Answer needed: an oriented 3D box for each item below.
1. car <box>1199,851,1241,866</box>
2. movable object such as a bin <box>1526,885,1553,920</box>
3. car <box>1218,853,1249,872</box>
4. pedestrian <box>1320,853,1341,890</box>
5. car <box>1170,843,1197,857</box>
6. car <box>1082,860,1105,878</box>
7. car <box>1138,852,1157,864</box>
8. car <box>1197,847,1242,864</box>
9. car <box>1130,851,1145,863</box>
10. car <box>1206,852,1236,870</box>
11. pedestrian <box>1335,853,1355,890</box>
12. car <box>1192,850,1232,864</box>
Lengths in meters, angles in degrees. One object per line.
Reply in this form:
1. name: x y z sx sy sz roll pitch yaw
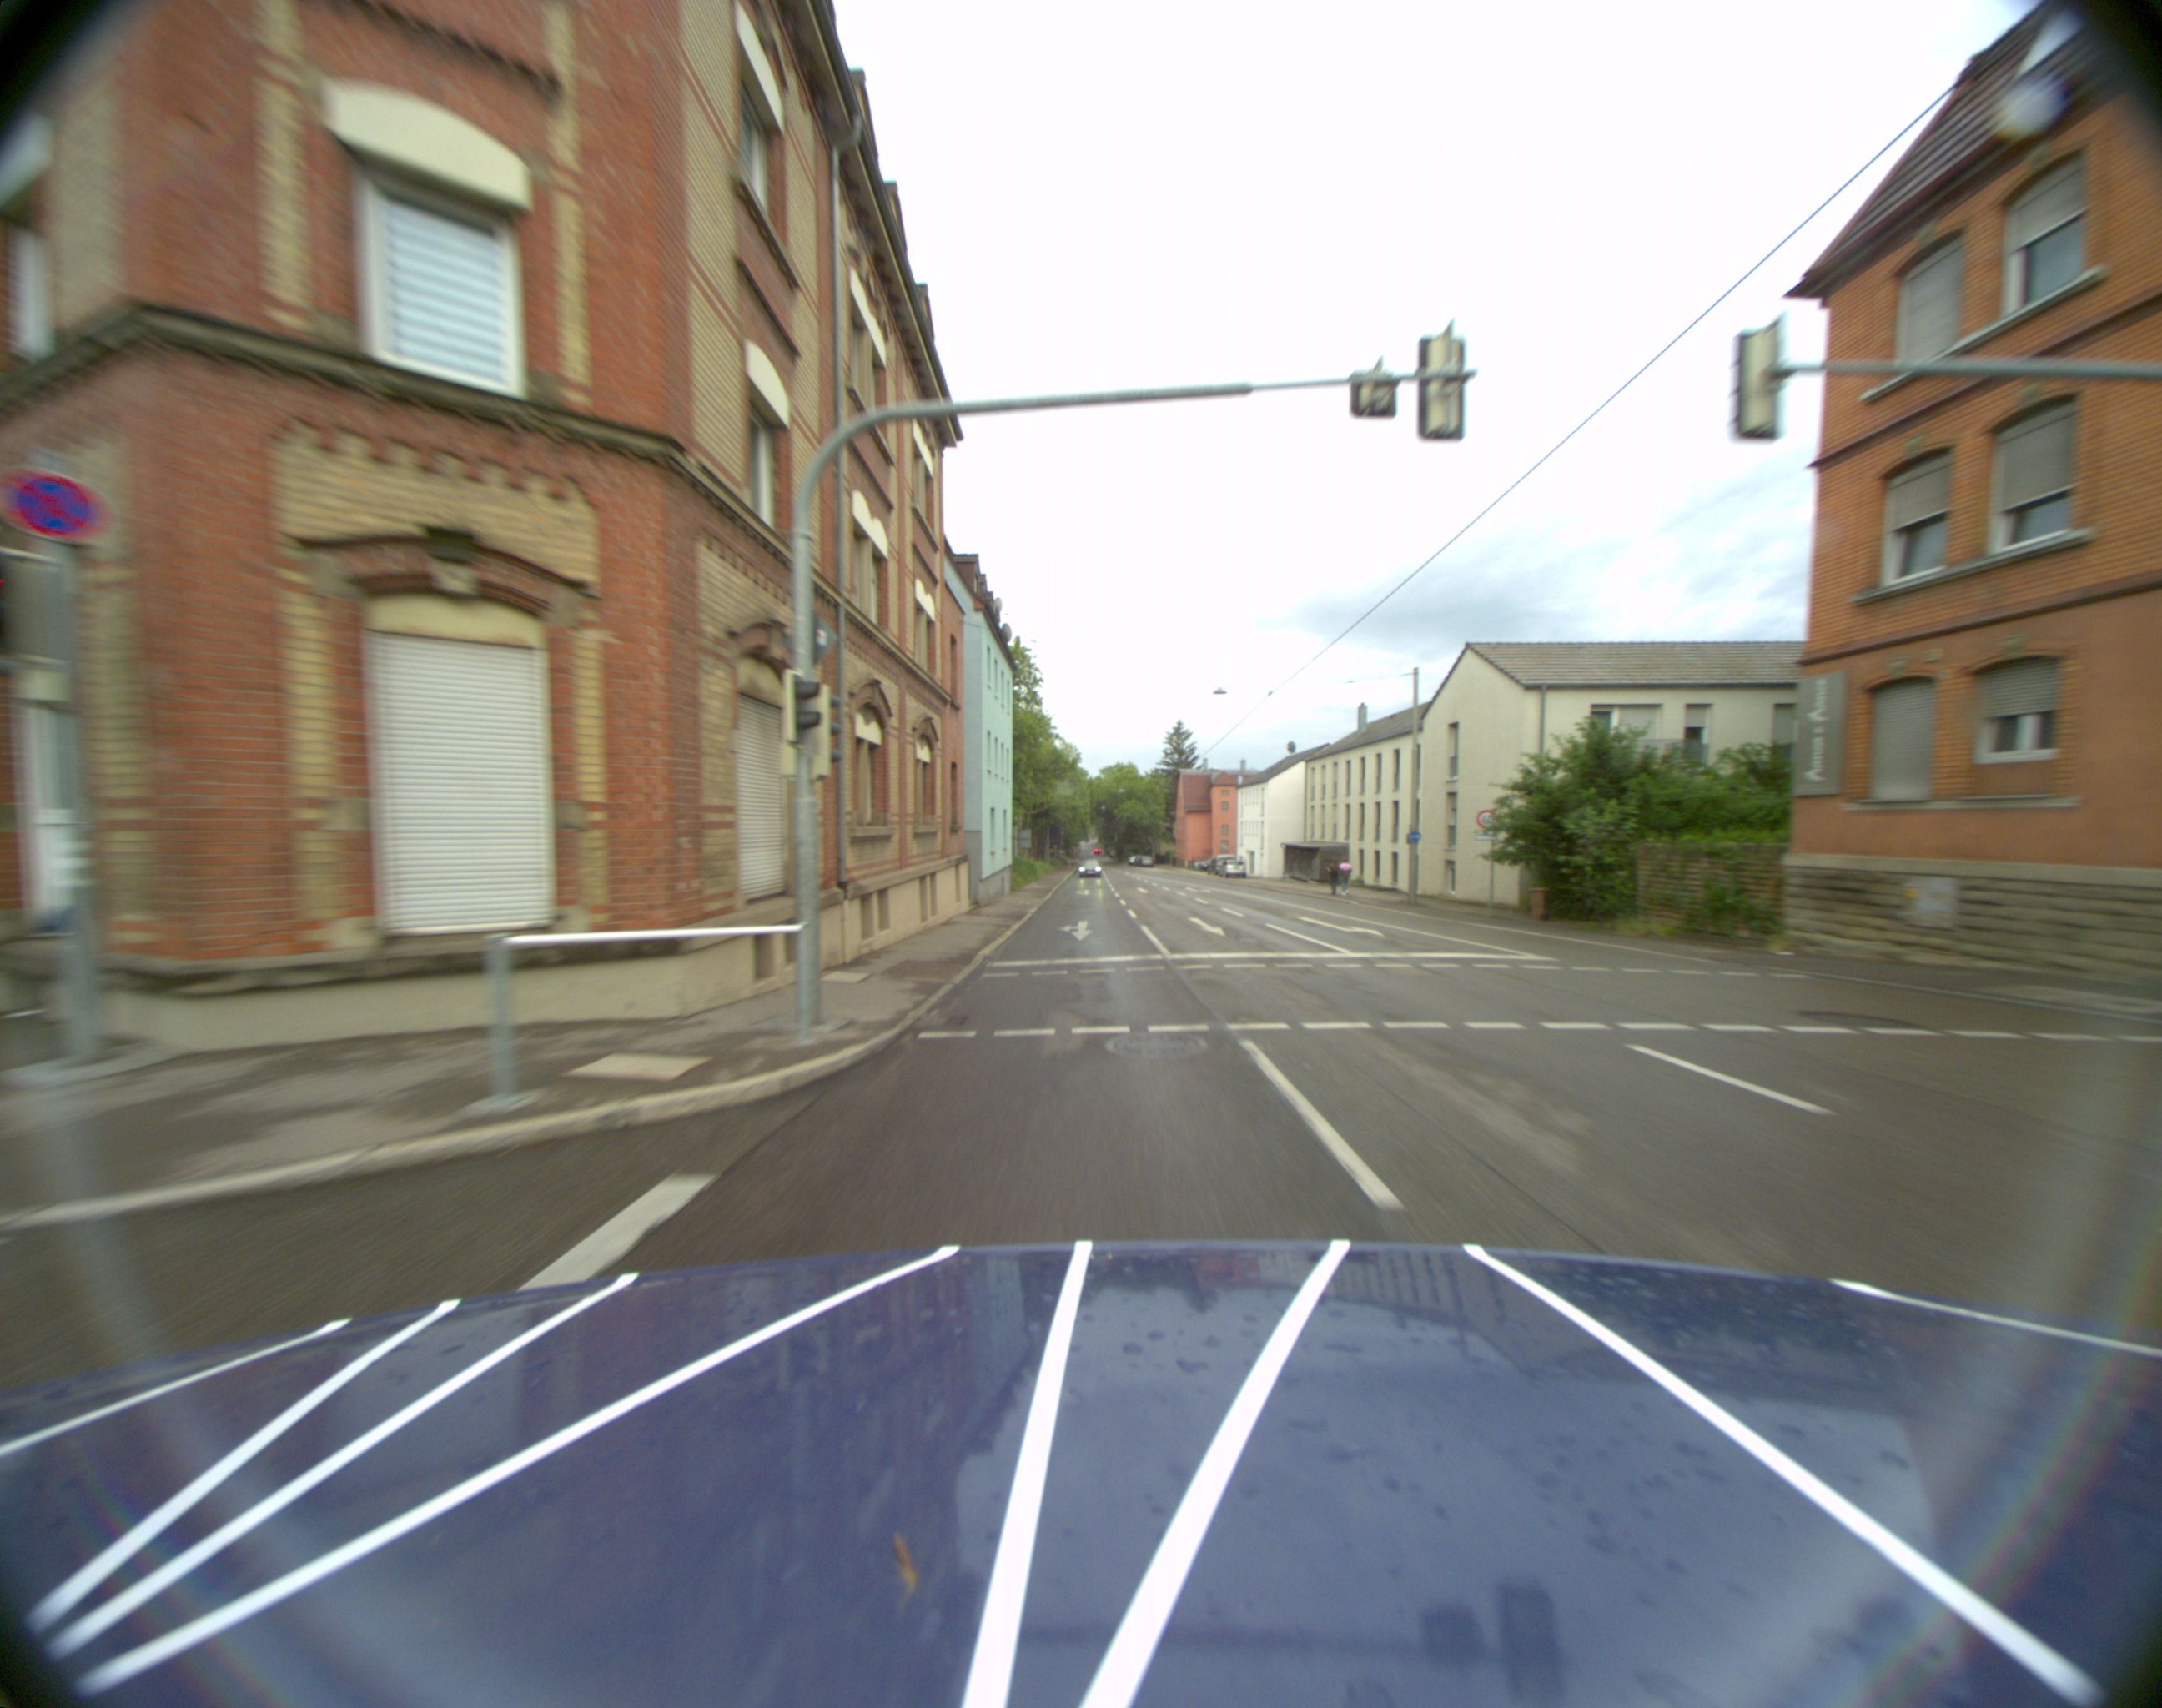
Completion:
1. car: 14.636 0.486 80.267 4.135 1.455 1.896 -2 1 2
2. movable object such as a bin: 12.882 1.353 21.344 0.410 0.919 0.525 -2 1 -6
3. car: 12.610 0.680 62.934 1.749 1.499 4.177 0 1 1
4. pedestrian: 11.527 0.800 35.124 0.642 1.696 0.911 -1 1 1
5. car: 15.140 -0.629 112.215 3.994 2.002 2.001 -1 1 8
6. car: 1.025 1.233 63.666 1.842 1.403 4.000 0 1 1
7. car: 8.314 0.530 94.950 1.789 1.402 4.197 2 0 -2
8. car: 15.071 0.169 82.826 4.542 1.599 2.153 -2 1 3
9. car: 7.863 0.342 106.005 1.816 1.537 4.198 3 1 0
10. car: 12.856 0.598 70.030 1.750 1.543 4.082 -2 0 -4
11. pedestrian: 12.192 0.806 35.115 0.642 1.696 0.911 -1 1 1
12. car: 14.723 0.335 85.334 4.171 1.425 2.000 -2 1 3
